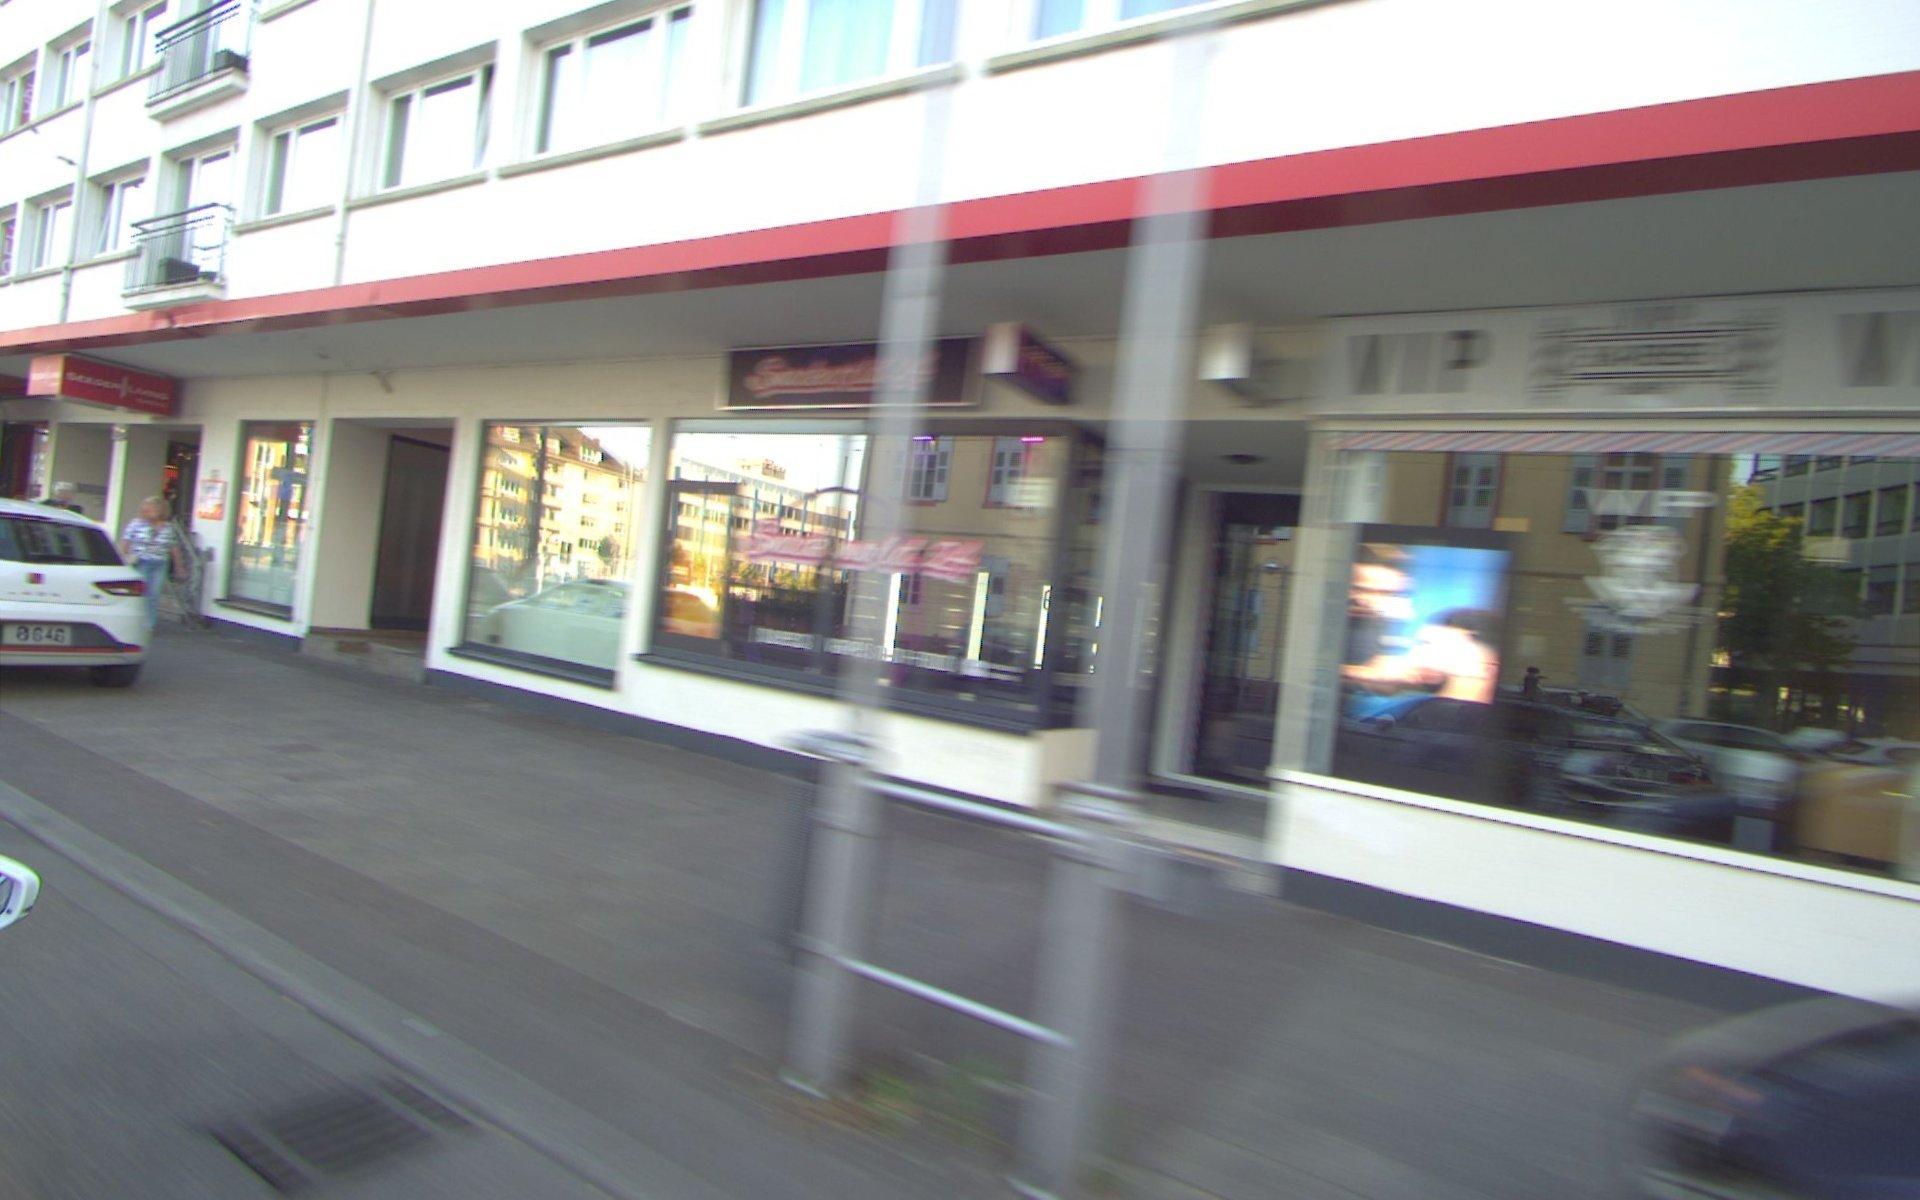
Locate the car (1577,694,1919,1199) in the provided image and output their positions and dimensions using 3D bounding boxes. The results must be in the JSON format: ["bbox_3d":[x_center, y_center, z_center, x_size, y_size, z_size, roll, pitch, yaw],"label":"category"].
[{"bbox_3d":[3.199,1.178,1.043,4.232,1.531,1.736,6,1,32],"label":"car"}]

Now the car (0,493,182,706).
[{"bbox_3d":[-8.463,-0.174,8.404,3.985,1.531,1.786,6,1,32],"label":"car"}]

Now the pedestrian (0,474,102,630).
[{"bbox_3d":[-10.995,-0.567,12.017,0.829,1.740,0.827,7,1,32],"label":"pedestrian"}]

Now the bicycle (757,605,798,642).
[{"bbox_3d":[-7.489,0.960,41.187,0.698,1.235,2.092,7,0,-35],"label":"bicycle"}]

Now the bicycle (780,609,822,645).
[{"bbox_3d":[-6.577,1.114,41.502,0.698,1.235,2.092,7,0,-35],"label":"bicycle"}]

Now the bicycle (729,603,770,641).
[{"bbox_3d":[-8.472,0.873,40.351,0.698,1.235,2.092,7,0,-35],"label":"bicycle"}]

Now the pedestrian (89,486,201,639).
[{"bbox_3d":[-10.009,-0.453,12.353,0.849,1.763,0.729,7,1,32],"label":"pedestrian"}]
